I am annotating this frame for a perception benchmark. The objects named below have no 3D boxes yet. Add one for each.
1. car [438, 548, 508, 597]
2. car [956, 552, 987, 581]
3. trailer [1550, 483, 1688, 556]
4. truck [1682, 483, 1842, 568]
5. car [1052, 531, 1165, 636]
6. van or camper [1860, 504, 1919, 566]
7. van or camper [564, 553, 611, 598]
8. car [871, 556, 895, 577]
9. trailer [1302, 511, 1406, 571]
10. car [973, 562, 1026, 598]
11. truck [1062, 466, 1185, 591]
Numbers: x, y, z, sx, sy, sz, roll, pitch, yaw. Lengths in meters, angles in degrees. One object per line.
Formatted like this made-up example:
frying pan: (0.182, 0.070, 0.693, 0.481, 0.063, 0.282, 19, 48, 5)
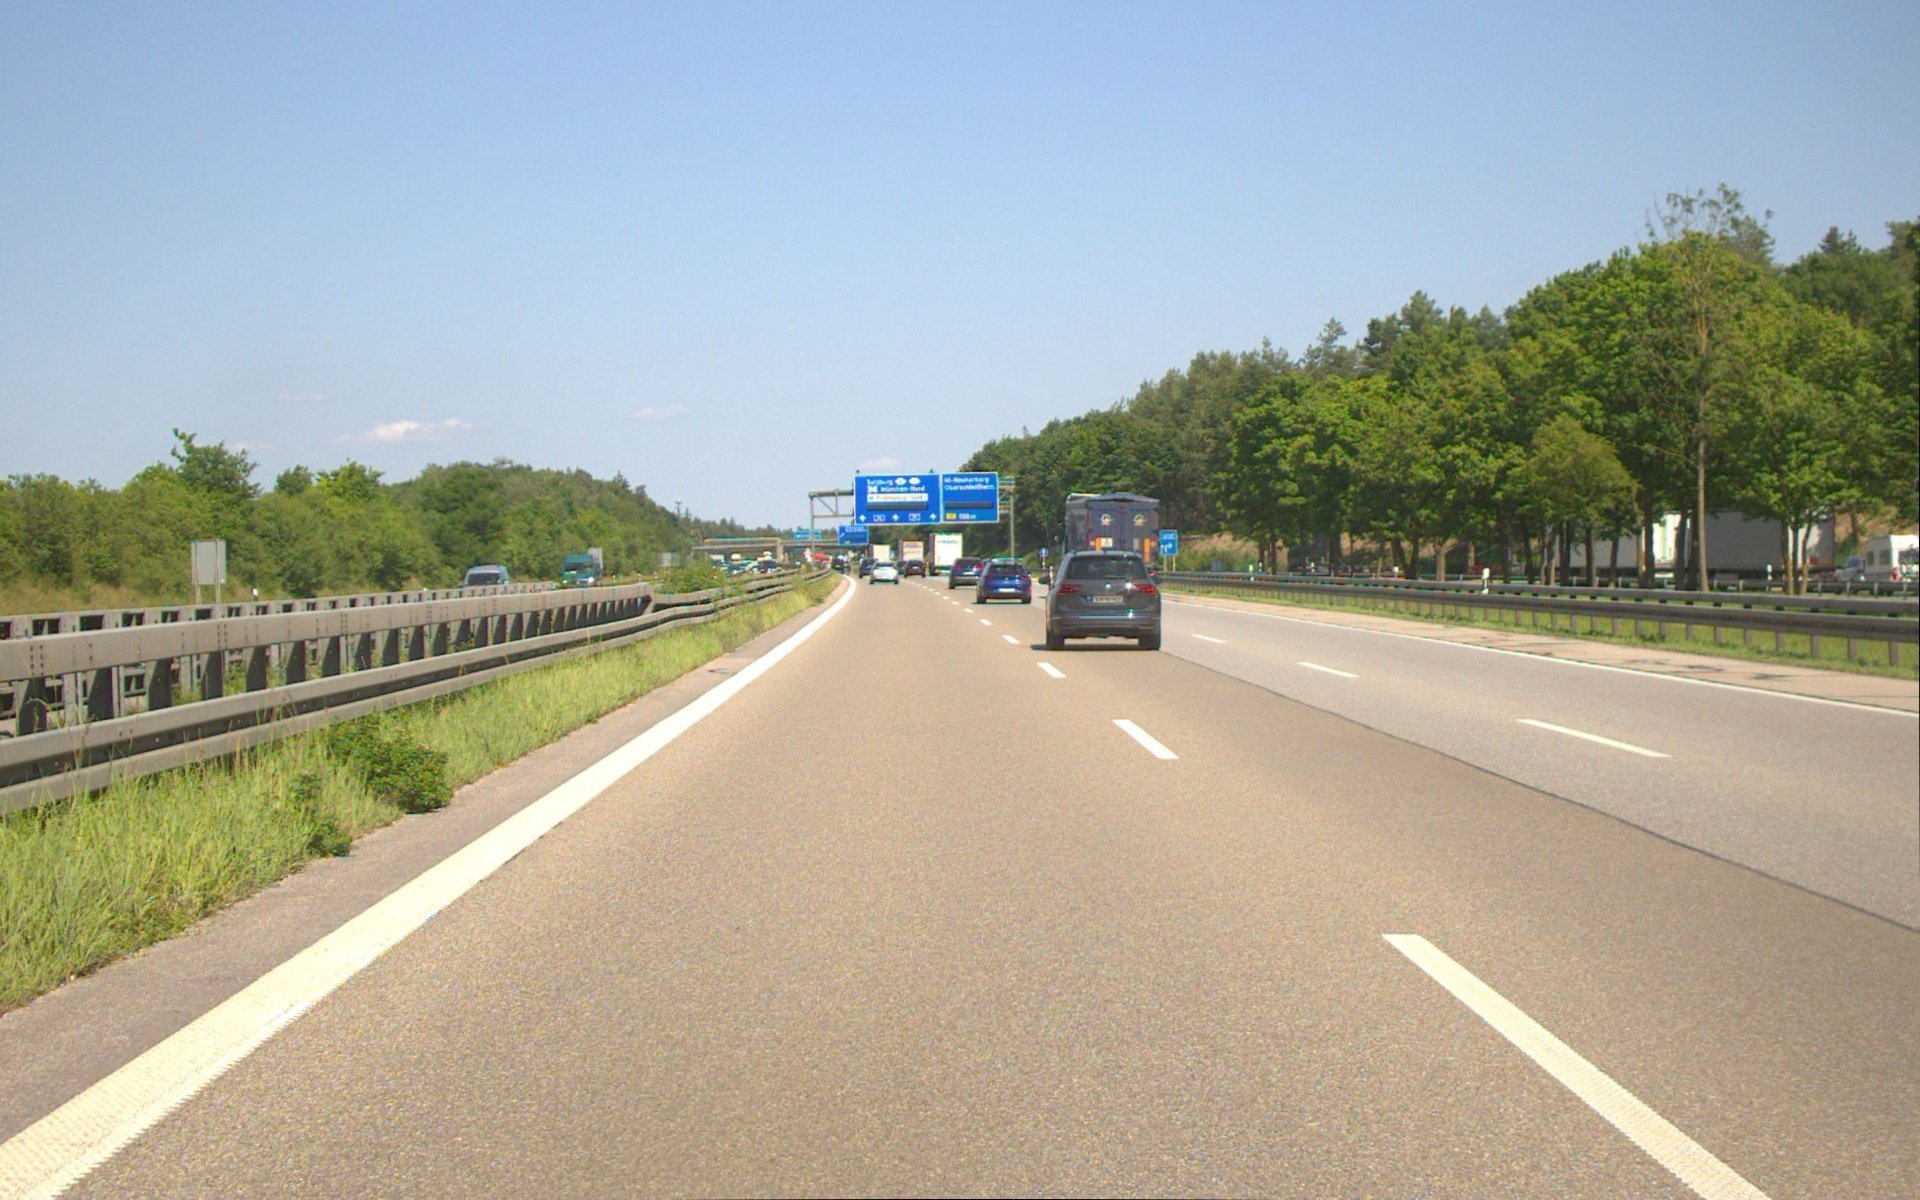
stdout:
car: (-19.647, -1.141, 138.928, 1.993, 1.829, 5.334, -3, 1, 0)
car: (0.571, -1.702, 175.344, 1.471, 1.393, 3.410, 2, 1, -1)
trailer: (35.498, -4.273, 185.827, 2.857, 3.783, 14.193, 0, 1, -8)
truck: (38.302, -3.506, 164.864, 2.995, 3.917, 14.463, 0, 1, -5)
car: (2.459, -0.301, 57.328, 1.799, 1.663, 4.258, 1, 1, 2)
van or camper: (39.564, -2.698, 143.868, 2.203, 2.522, 5.876, 0, 1, -1)
van or camper: (-21.030, -1.423, 194.351, 1.993, 2.384, 6.241, -2, 1, -1)
car: (-4.754, -2.073, 212.950, 1.471, 1.223, 3.410, -1, 1, -1)
trailer: (26.282, -3.908, 230.285, 2.571, 3.901, 12.753, 0, 1, -14)
car: (1.313, -0.692, 116.130, 1.708, 1.151, 3.689, -1, 1, -1)
truck: (6.013, -2.649, 129.012, 3.780, 4.407, 14.051, 0, 1, -1)
